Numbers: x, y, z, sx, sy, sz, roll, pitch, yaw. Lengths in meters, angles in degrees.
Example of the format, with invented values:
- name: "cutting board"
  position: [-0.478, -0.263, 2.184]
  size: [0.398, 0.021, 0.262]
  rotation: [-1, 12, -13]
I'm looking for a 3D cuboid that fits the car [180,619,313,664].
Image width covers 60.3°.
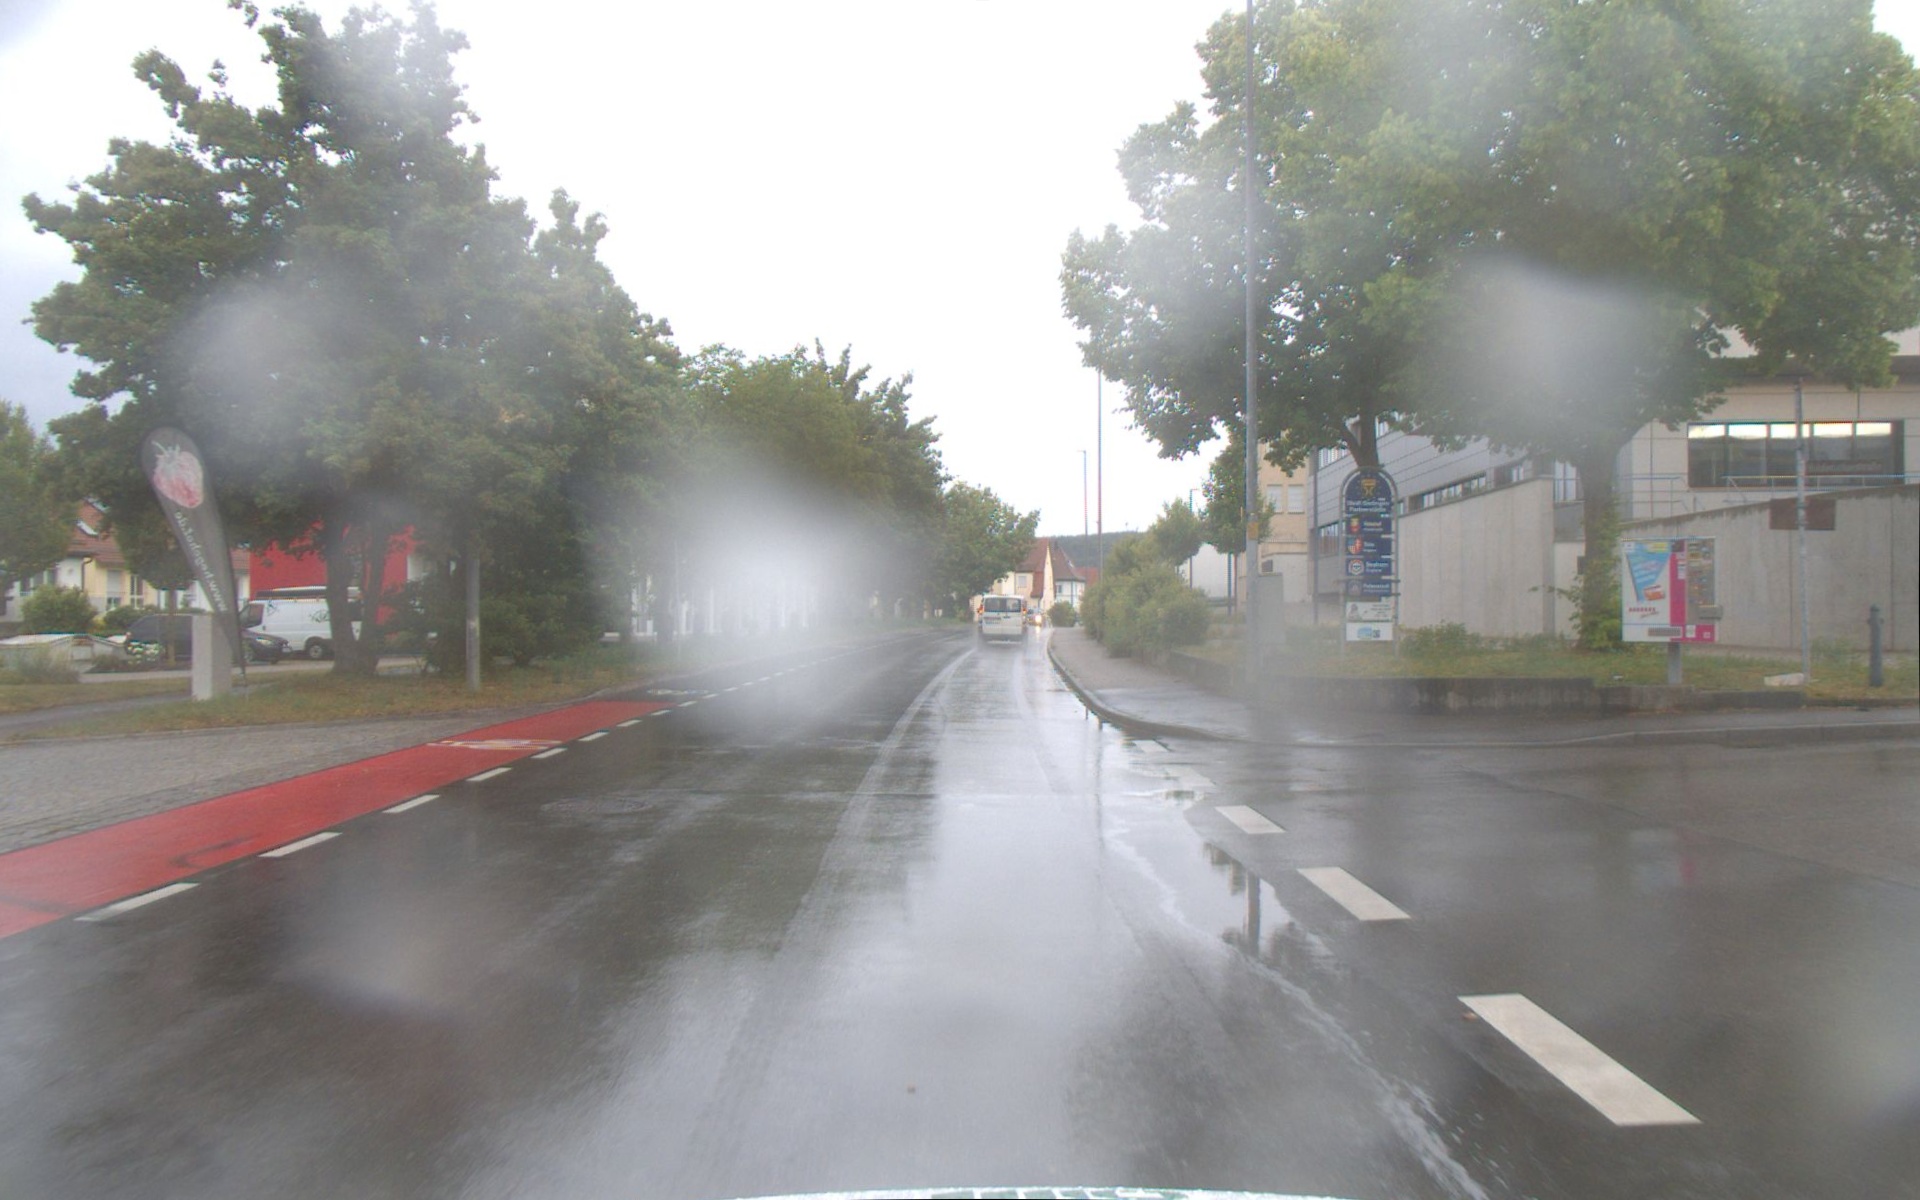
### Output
- name: "car"
  position: [-21.779, 1.260, 50.570]
  size: [3.331, 1.266, 1.705]
  rotation: [1, 1, -2]

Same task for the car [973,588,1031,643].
- name: "car"
  position: [1.548, 0.551, 62.064]
  size: [2.073, 1.921, 4.503]
  rotation: [1, 1, 1]

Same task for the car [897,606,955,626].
- name: "car"
  position: [-2.359, 1.111, 114.705]
  size: [3.818, 1.306, 1.583]
  rotation: [-2, -2, 5]

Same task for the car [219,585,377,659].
- name: "car"
  position: [-22.208, 0.715, 55.579]
  size: [4.382, 2.351, 2.186]
  rotation: [1, 0, 5]

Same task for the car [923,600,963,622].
- name: "car"
  position: [-1.241, 0.794, 123.177]
  size: [2.847, 1.481, 1.254]
  rotation: [-2, -3, 5]

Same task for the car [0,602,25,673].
- name: "car"
  position: [-22.588, 0.850, 36.451]
  size: [2.075, 1.583, 4.159]
  rotation: [1, 1, -9]
